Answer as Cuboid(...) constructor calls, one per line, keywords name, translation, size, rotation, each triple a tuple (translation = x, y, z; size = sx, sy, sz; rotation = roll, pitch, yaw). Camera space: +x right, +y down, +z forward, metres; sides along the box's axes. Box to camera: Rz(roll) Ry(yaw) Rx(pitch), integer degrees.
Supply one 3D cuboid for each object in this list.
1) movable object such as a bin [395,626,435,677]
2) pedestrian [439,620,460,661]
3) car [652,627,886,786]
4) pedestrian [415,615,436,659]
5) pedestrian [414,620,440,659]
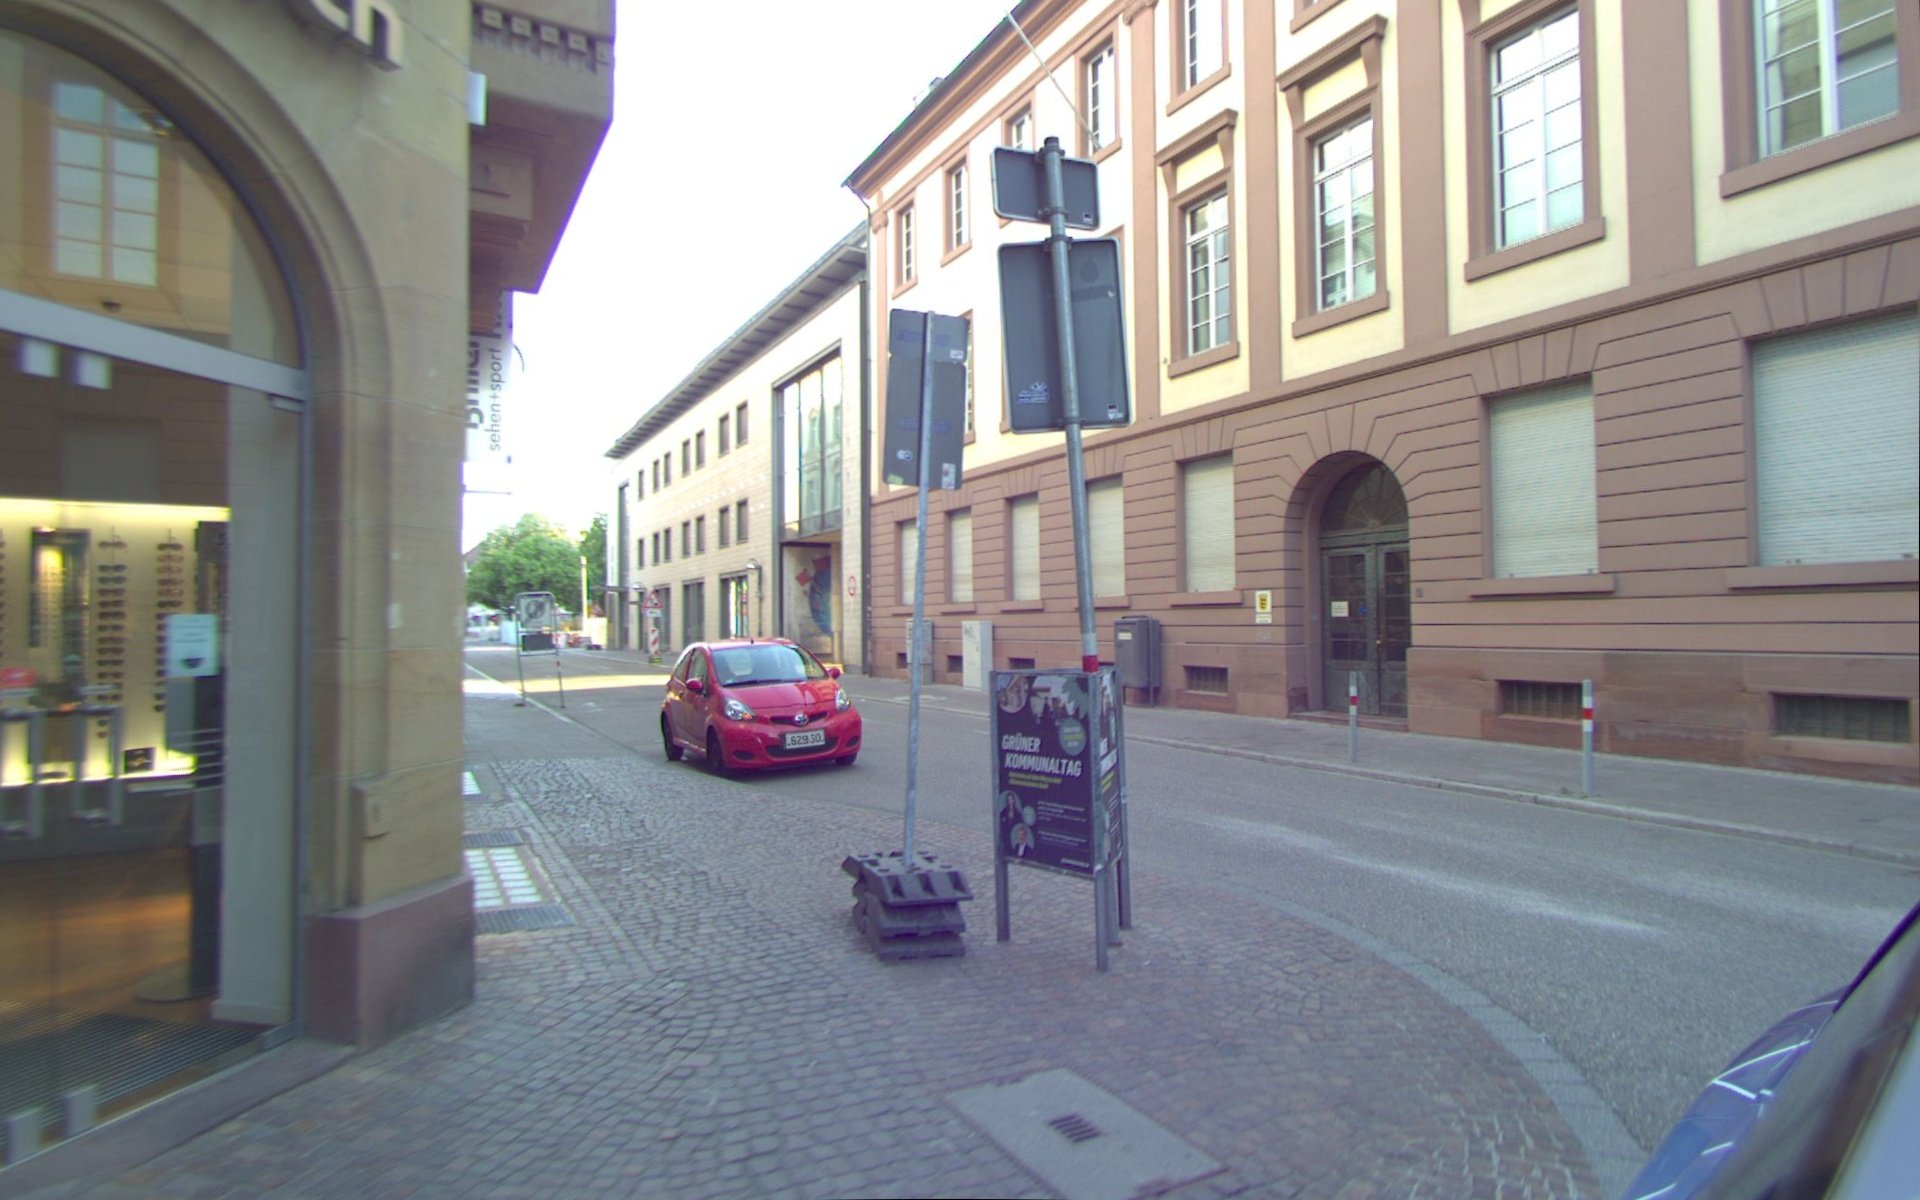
Cuboid(name="movable object such as a bin", translation=(-15.393, 1.436, 28.583), size=(0.881, 1.393, 1.138), rotation=(3, -3, -31))
Cuboid(name="pedestrian", translation=(-21.454, 1.708, 42.516), size=(0.636, 1.675, 0.758), rotation=(4, -4, -32))
Cuboid(name="car", translation=(-2.364, 1.087, 11.789), size=(1.587, 1.443, 3.600), rotation=(-3, 0, -29))
Cuboid(name="pedestrian", translation=(-22.211, 1.527, 42.061), size=(0.636, 1.802, 0.758), rotation=(4, -4, -32))
Cuboid(name="pedestrian", translation=(-22.929, 1.690, 43.566), size=(0.839, 1.619, 0.924), rotation=(4, -4, -32))
